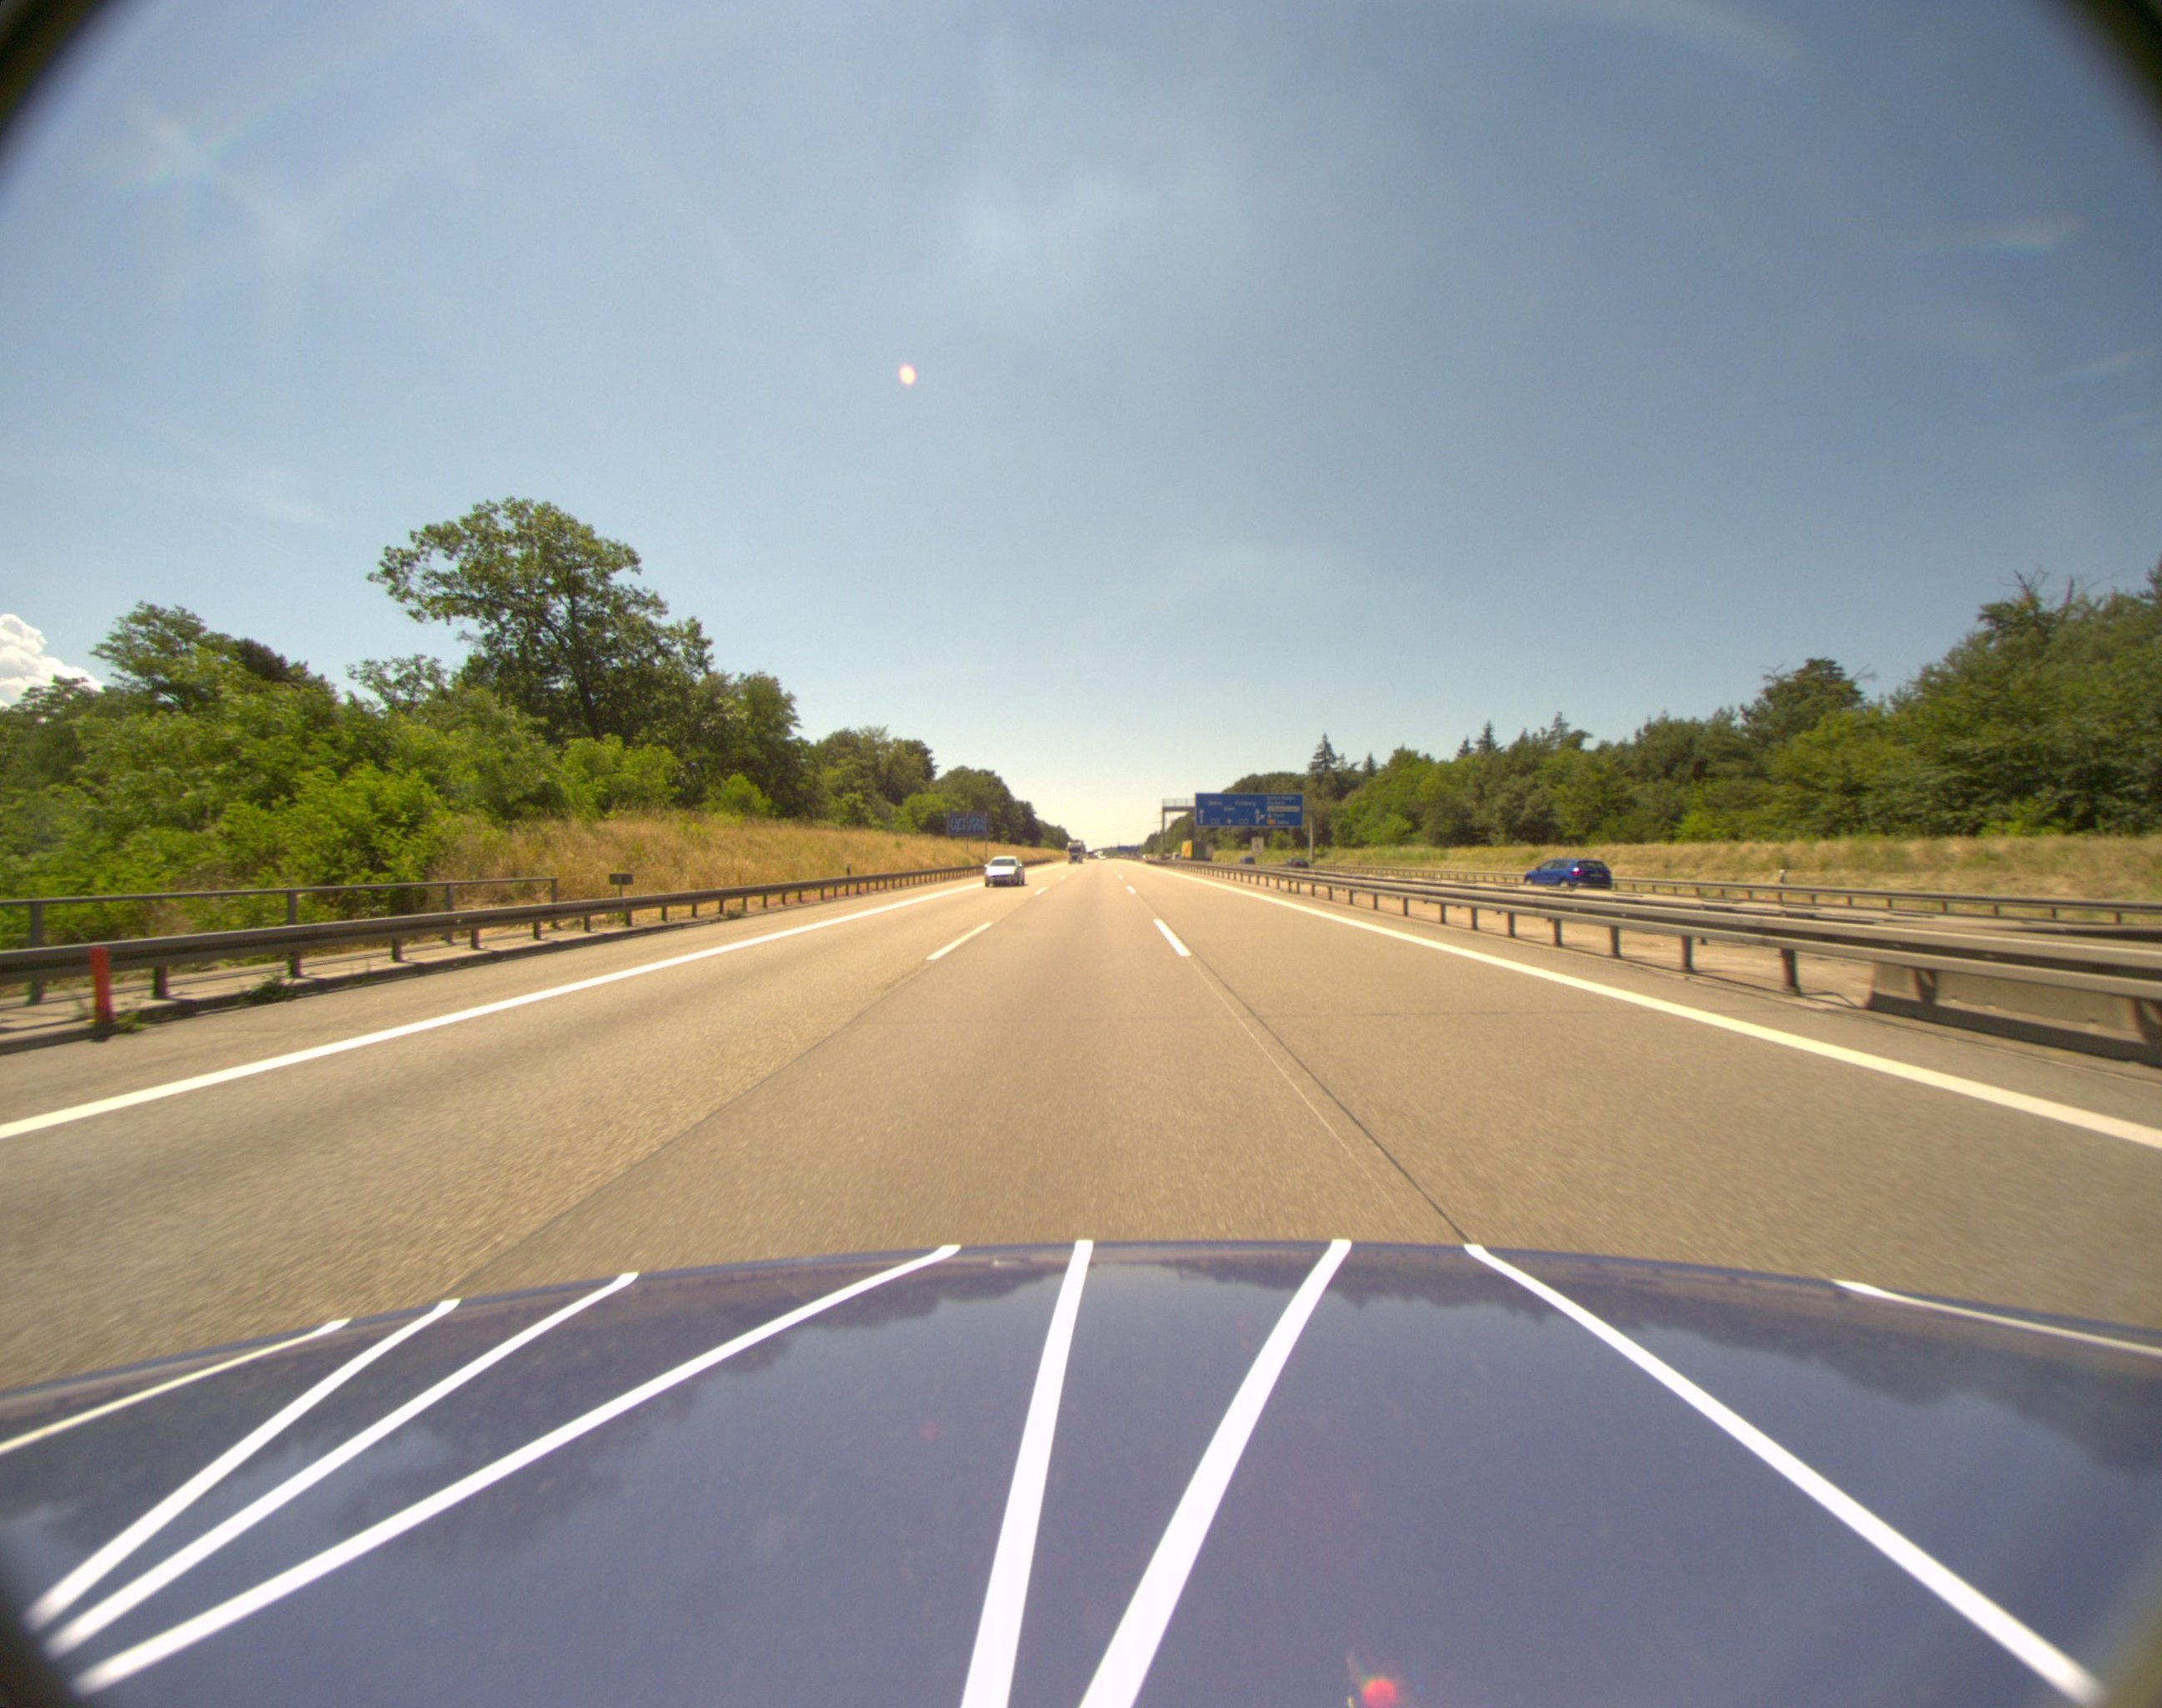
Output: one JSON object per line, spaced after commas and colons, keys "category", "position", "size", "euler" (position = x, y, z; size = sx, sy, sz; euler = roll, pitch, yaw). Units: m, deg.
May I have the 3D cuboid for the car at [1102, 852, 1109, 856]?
{"category": "car", "position": [7.602, -0.040, 236.587], "size": [1.796, 1.412, 4.000], "euler": [-1, 0, 1]}

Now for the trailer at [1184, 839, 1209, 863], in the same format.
{"category": "trailer", "position": [20.869, -0.589, 138.126], "size": [2.470, 4.049, 14.280], "euler": [3, 0, 1]}

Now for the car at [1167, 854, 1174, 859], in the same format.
{"category": "car", "position": [28.912, 0.684, 246.219], "size": [1.650, 1.581, 4.612], "euler": [3, 0, 1]}

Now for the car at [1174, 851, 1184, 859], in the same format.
{"category": "car", "position": [27.522, 0.260, 213.106], "size": [1.992, 2.327, 5.810], "euler": [3, 0, 1]}

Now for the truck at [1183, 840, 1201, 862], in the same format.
{"category": "truck", "position": [21.083, -0.569, 144.826], "size": [2.470, 4.049, 6.287], "euler": [3, 0, 1]}

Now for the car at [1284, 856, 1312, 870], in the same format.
{"category": "car", "position": [23.686, 0.927, 83.043], "size": [1.679, 1.357, 4.890], "euler": [3, 0, 1]}

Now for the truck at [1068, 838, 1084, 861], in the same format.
{"category": "truck", "position": [-0.866, -0.781, 135.849], "size": [2.605, 3.811, 5.970], "euler": [-1, 0, 2]}

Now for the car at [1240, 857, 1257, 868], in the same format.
{"category": "car", "position": [24.334, 1.202, 110.631], "size": [1.527, 1.531, 4.111], "euler": [3, 0, 1]}

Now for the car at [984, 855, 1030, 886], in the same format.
{"category": "car", "position": [-3.670, 0.787, 38.136], "size": [1.749, 1.457, 3.981], "euler": [-1, 0, 2]}

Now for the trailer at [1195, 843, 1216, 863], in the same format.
{"category": "trailer", "position": [25.889, -0.165, 158.027], "size": [2.631, 3.925, 11.158], "euler": [3, 0, 1]}

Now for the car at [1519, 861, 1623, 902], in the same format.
{"category": "car", "position": [21.508, 1.164, 33.589], "size": [1.706, 1.536, 4.535], "euler": [3, 0, 1]}
